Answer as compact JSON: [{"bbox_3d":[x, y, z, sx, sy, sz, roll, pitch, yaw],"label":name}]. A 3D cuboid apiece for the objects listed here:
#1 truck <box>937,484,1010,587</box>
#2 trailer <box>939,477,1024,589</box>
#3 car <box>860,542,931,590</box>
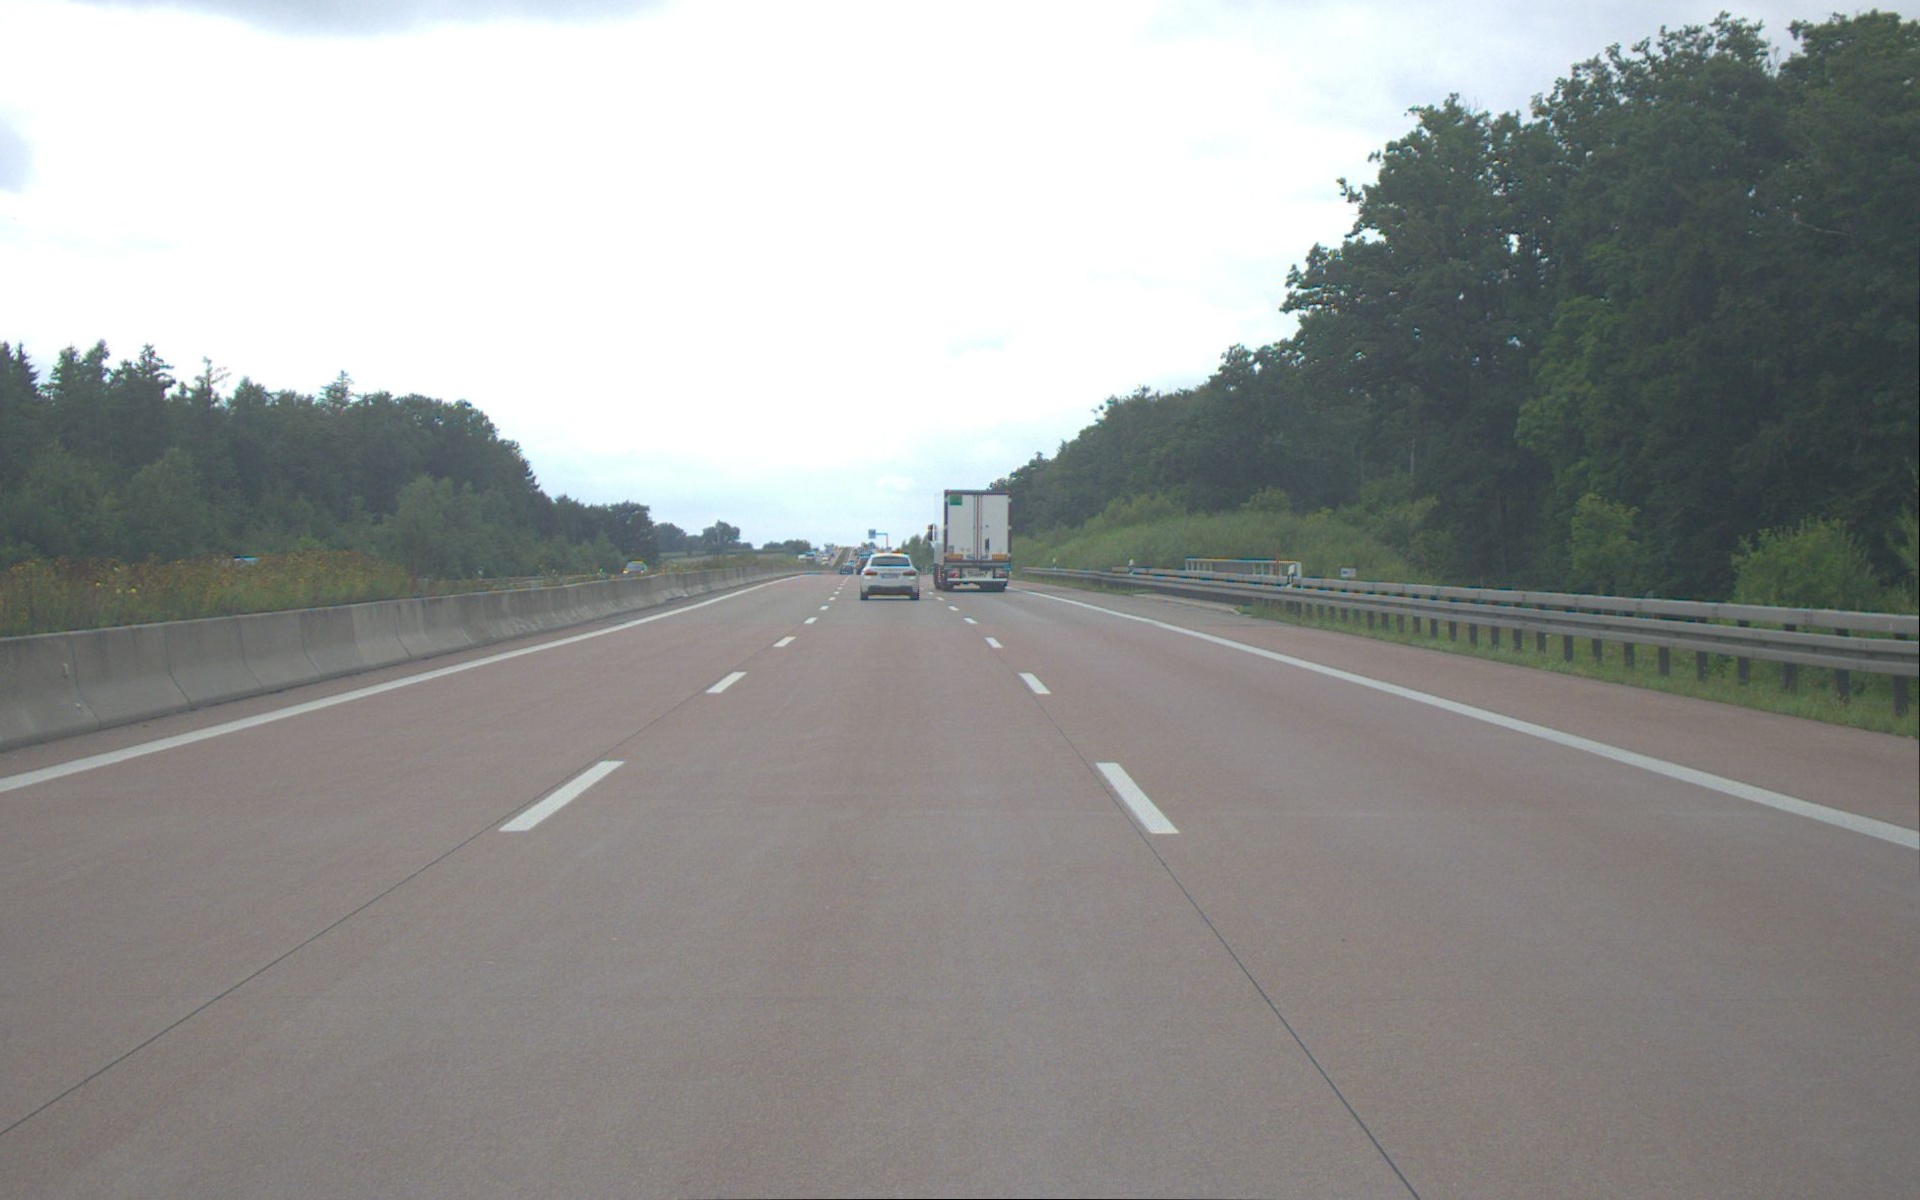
[{"bbox_3d":[0.543,-2.722,146.610,2.921,4.279,5.335,0,0,-2],"label":"truck"},{"bbox_3d":[0.788,-2.627,138.986,2.921,4.279,13.615,0,0,-2],"label":"trailer"},{"bbox_3d":[-2.040,-1.085,109.501,2.163,1.446,4.719,1,1,0],"label":"car"}]
